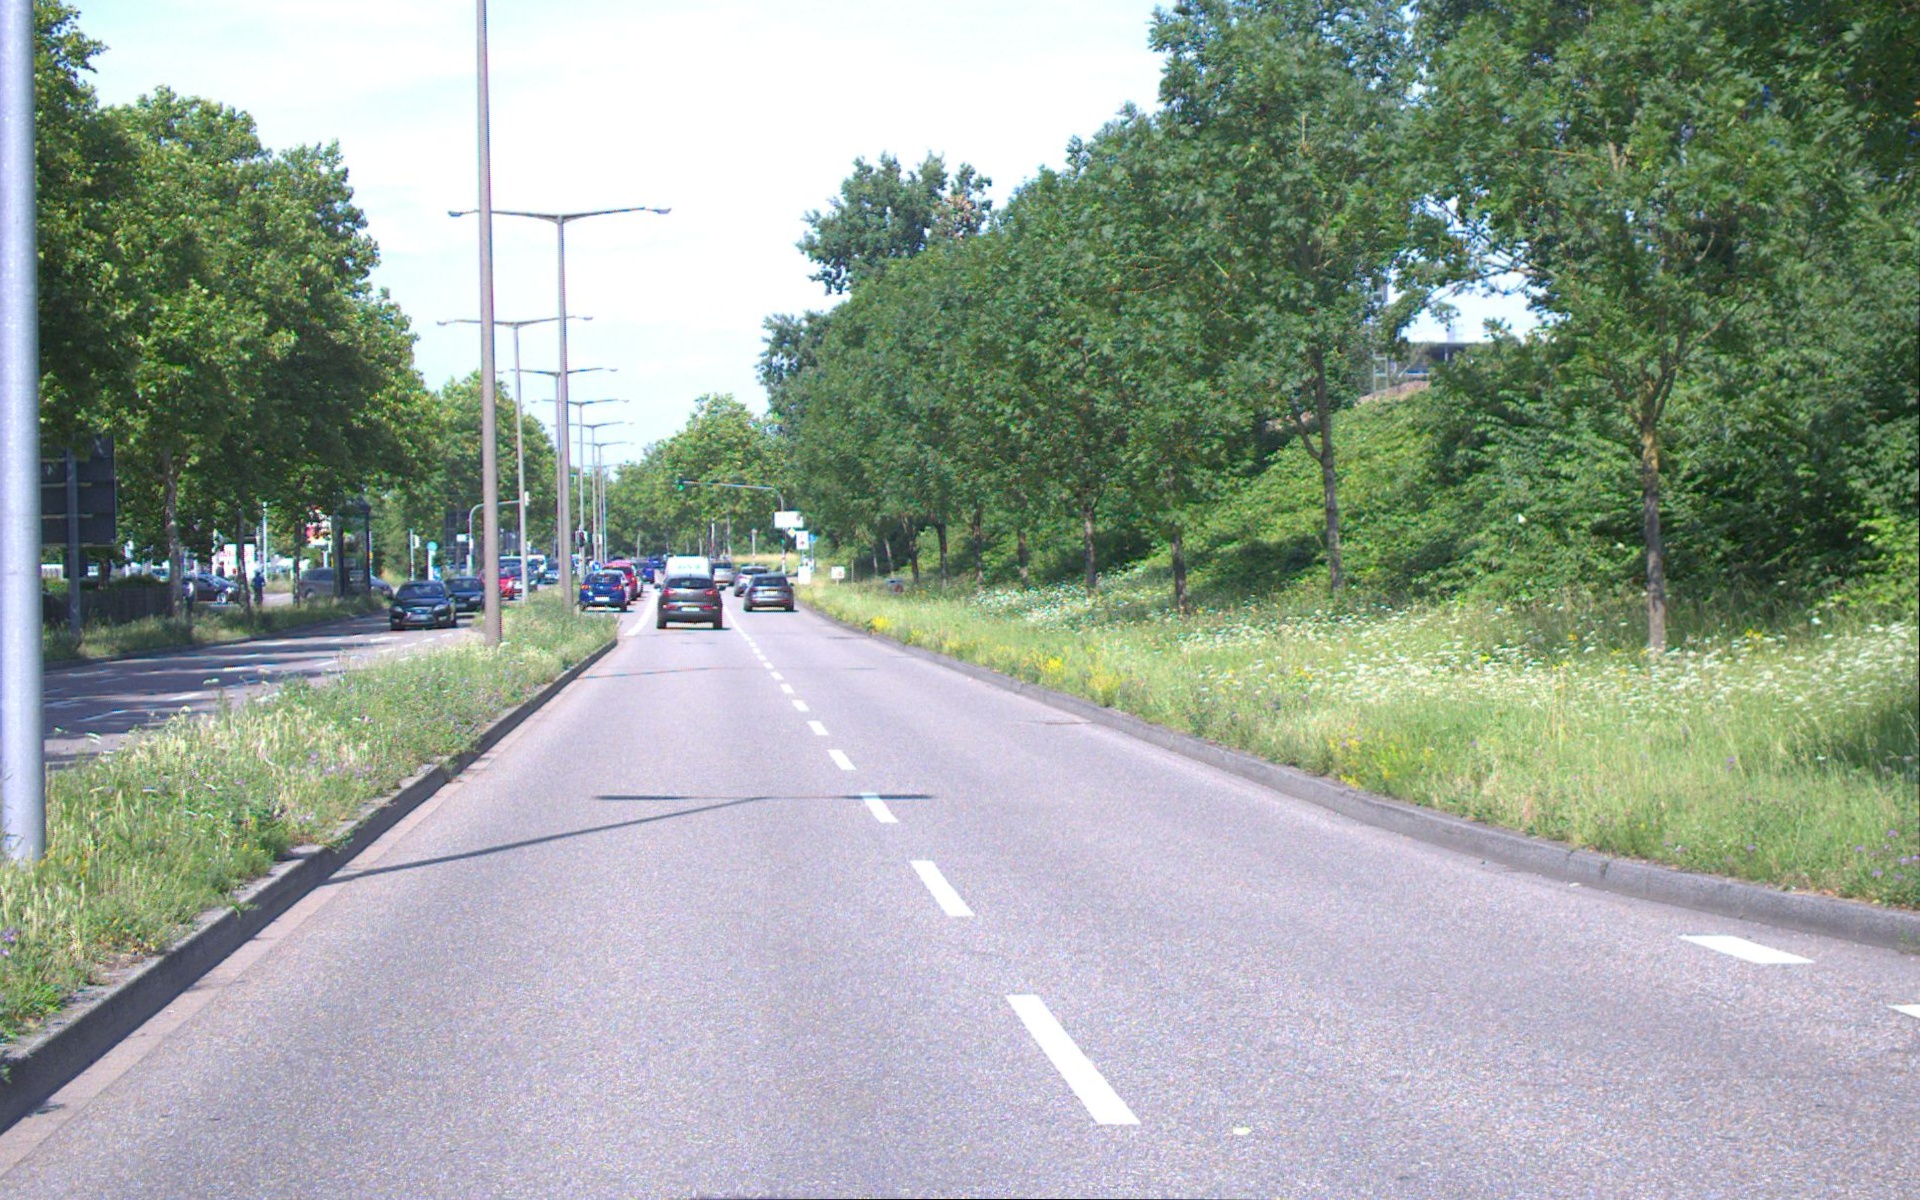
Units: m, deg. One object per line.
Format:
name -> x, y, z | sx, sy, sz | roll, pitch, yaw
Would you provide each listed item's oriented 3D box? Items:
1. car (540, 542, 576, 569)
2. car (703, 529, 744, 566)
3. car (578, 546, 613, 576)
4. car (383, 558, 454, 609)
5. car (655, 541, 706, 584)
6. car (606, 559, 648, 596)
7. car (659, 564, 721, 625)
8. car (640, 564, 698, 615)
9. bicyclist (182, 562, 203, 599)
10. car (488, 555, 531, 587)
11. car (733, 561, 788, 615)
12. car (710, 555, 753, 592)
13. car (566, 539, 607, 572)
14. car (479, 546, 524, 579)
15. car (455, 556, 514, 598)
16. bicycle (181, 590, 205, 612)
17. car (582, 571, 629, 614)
car -> -26.835, -2.960, 229.520 | 1.993, 1.769, 4.000 | -1, 1, -2
car -> -13.109, -2.925, 190.614 | 1.993, 2.007, 4.001 | -1, 1, -8
car -> -23.588, -2.536, 222.649 | 1.993, 1.853, 4.001 | -1, 1, -3
car -> -16.234, -0.508, 103.281 | 1.827, 1.462, 4.989 | -1, 1, -6
car -> -11.395, -1.520, 140.444 | 1.993, 1.702, 4.264 | -1, 1, -4
car -> -14.616, -0.996, 151.045 | 1.782, 1.587, 4.594 | 0, 1, -5
car -> -7.736, -0.172, 98.809 | 1.736, 1.530, 4.001 | 0, 3, -4
car -> -10.206, -0.385, 120.615 | 1.993, 1.678, 4.001 | -1, 1, -5
bicyclist -> -31.099, -0.787, 139.284 | 0.681, 1.480, 0.942 | -1, 0, -4
car -> -22.148, -1.429, 169.117 | 1.839, 1.473, 4.167 | -1, 1, -5
car -> -7.539, -0.473, 129.444 | 2.018, 1.831, 4.001 | 0, 3, -4
car -> -10.930, -1.283, 164.335 | 1.993, 1.702, 4.264 | -1, 1, -4
car -> -20.021, -2.369, 184.449 | 1.993, 1.702, 4.264 | -1, 1, -4
car -> -21.128, -1.730, 158.539 | 1.763, 1.457, 4.001 | -2, 1, -4
car -> -17.321, -0.835, 125.276 | 1.772, 1.462, 4.672 | -2, 1, -4
bicycle -> -31.082, 0.052, 139.320 | 0.689, 0.863, 1.926 | -1, 1, -4
car -> -13.035, -0.294, 126.626 | 1.626, 1.478, 4.049 | 1, 1, -5
